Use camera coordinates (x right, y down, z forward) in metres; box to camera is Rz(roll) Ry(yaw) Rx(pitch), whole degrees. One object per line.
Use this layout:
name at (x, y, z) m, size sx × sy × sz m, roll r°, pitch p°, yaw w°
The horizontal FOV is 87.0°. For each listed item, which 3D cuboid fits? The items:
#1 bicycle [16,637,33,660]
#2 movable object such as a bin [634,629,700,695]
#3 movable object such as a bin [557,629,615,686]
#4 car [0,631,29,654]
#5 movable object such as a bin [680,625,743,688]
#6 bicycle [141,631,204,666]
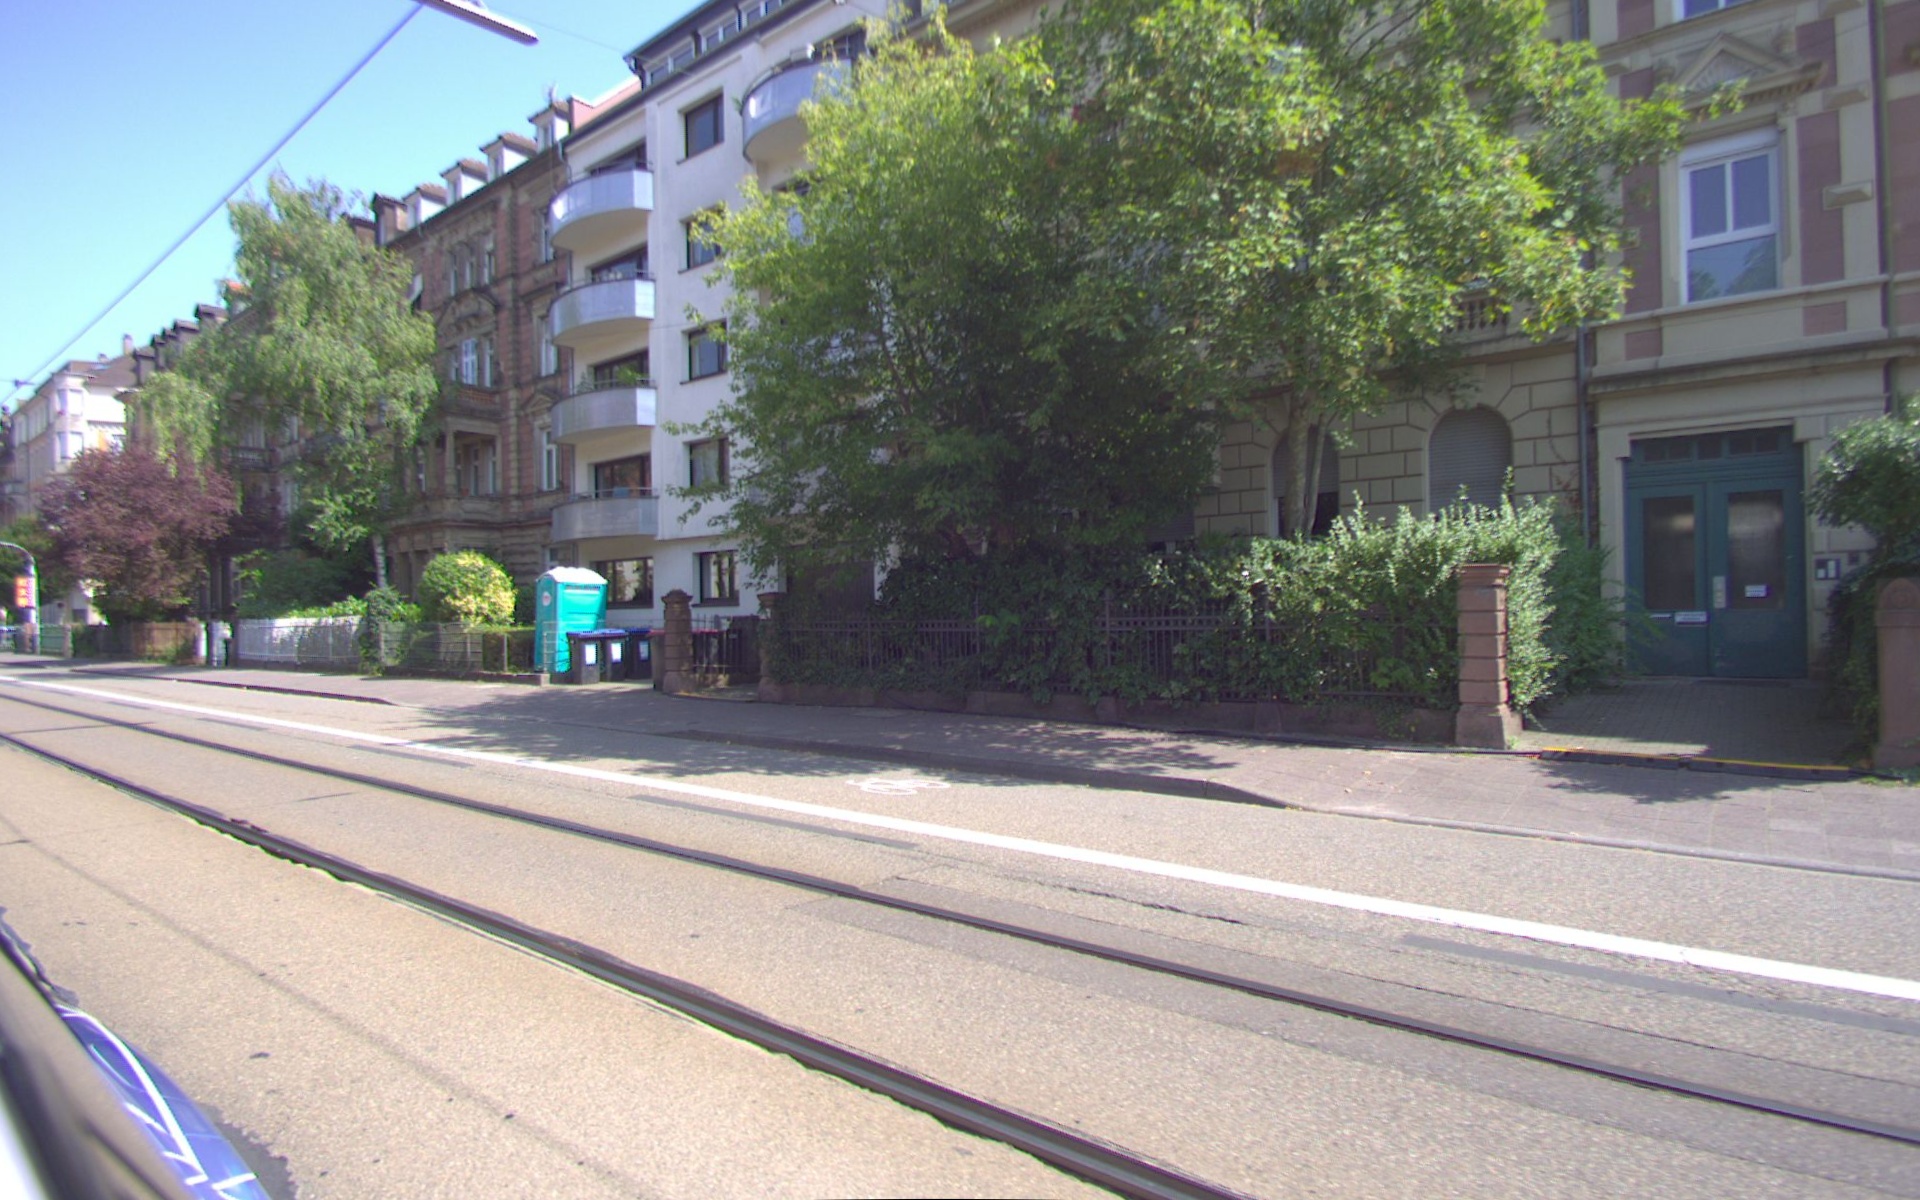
bicycle at (-47.924, 2.489, 51.843) m, size 1.566 × 1.107 × 0.386 m, roll -3°, pitch -1°, yaw 37°
movable object such as a bin at (-5.137, 1.074, 17.767) m, size 0.803 × 1.084 × 0.778 m, roll -2°, pitch 0°, yaw 42°
movable object such as a bin at (-7.563, 1.152, 20.470) m, size 0.753 × 1.084 × 0.779 m, roll -2°, pitch 0°, yaw 37°
car at (-70.665, 3.127, 73.665) m, size 1.877 × 1.606 × 4.060 m, roll -2°, pitch 0°, yaw 40°
movable object such as a bin at (-4.498, 1.009, 18.323) m, size 0.803 × 1.084 × 0.778 m, roll -2°, pitch 0°, yaw 42°
bicycle at (-30.019, 1.833, 38.595) m, size 0.716 × 1.191 × 1.794 m, roll -2°, pitch 0°, yaw 41°
